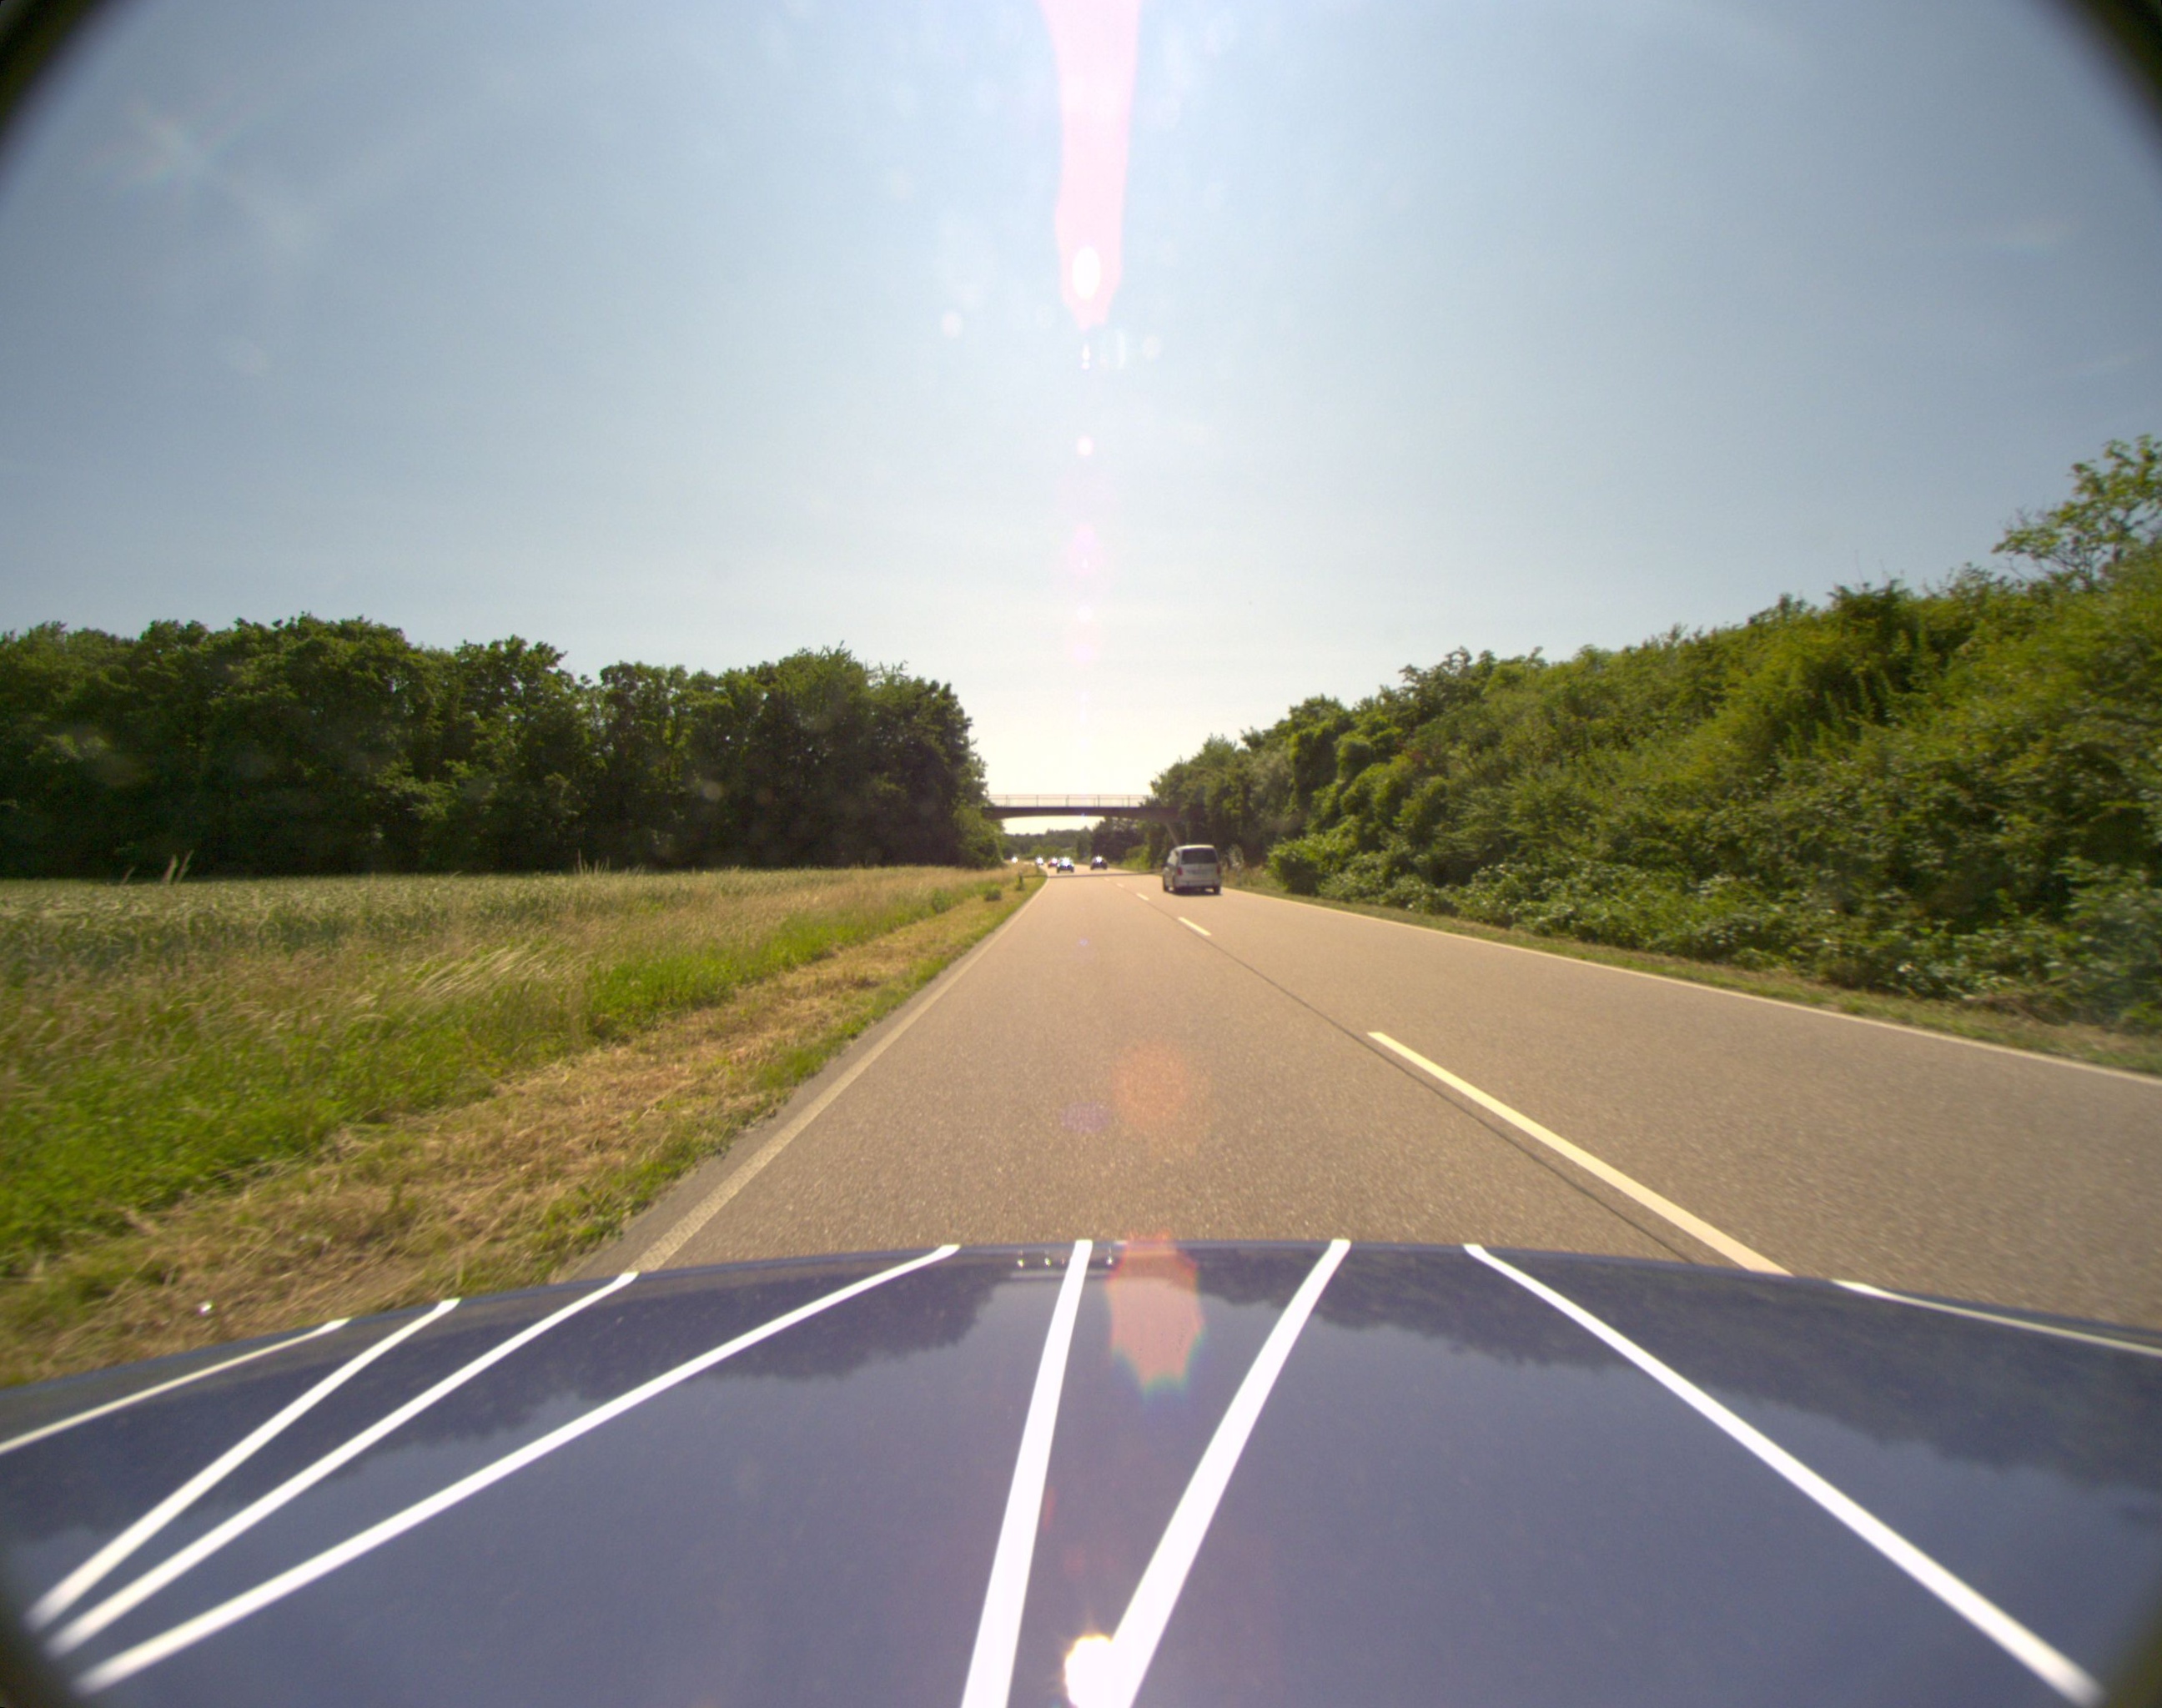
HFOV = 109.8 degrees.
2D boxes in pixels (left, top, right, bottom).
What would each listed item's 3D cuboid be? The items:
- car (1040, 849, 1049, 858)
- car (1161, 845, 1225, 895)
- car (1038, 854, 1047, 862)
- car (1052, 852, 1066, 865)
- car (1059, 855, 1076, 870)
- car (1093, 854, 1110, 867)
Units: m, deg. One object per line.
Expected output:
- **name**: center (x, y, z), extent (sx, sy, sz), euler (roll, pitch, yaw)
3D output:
- **car**: center (-12.078, -0.223, 253.127), extent (3.034, 2.987, 7.841), euler (0, 0, -2)
- **car**: center (4.351, 0.576, 30.171), extent (1.767, 1.808, 4.803), euler (-1, 0, 0)
- **car**: center (-8.334, 0.868, 166.044), extent (1.553, 1.659, 4.000), euler (-2, 1, 2)
- **car**: center (-3.405, 0.682, 118.516), extent (1.999, 2.002, 3.999), euler (-2, 0, -2)
- **car**: center (-1.393, 0.856, 79.192), extent (1.693, 1.431, 3.709), euler (-2, 0, -2)
- **car**: center (2.422, 0.714, 90.335), extent (1.711, 1.420, 3.999), euler (-2, 0, -1)
